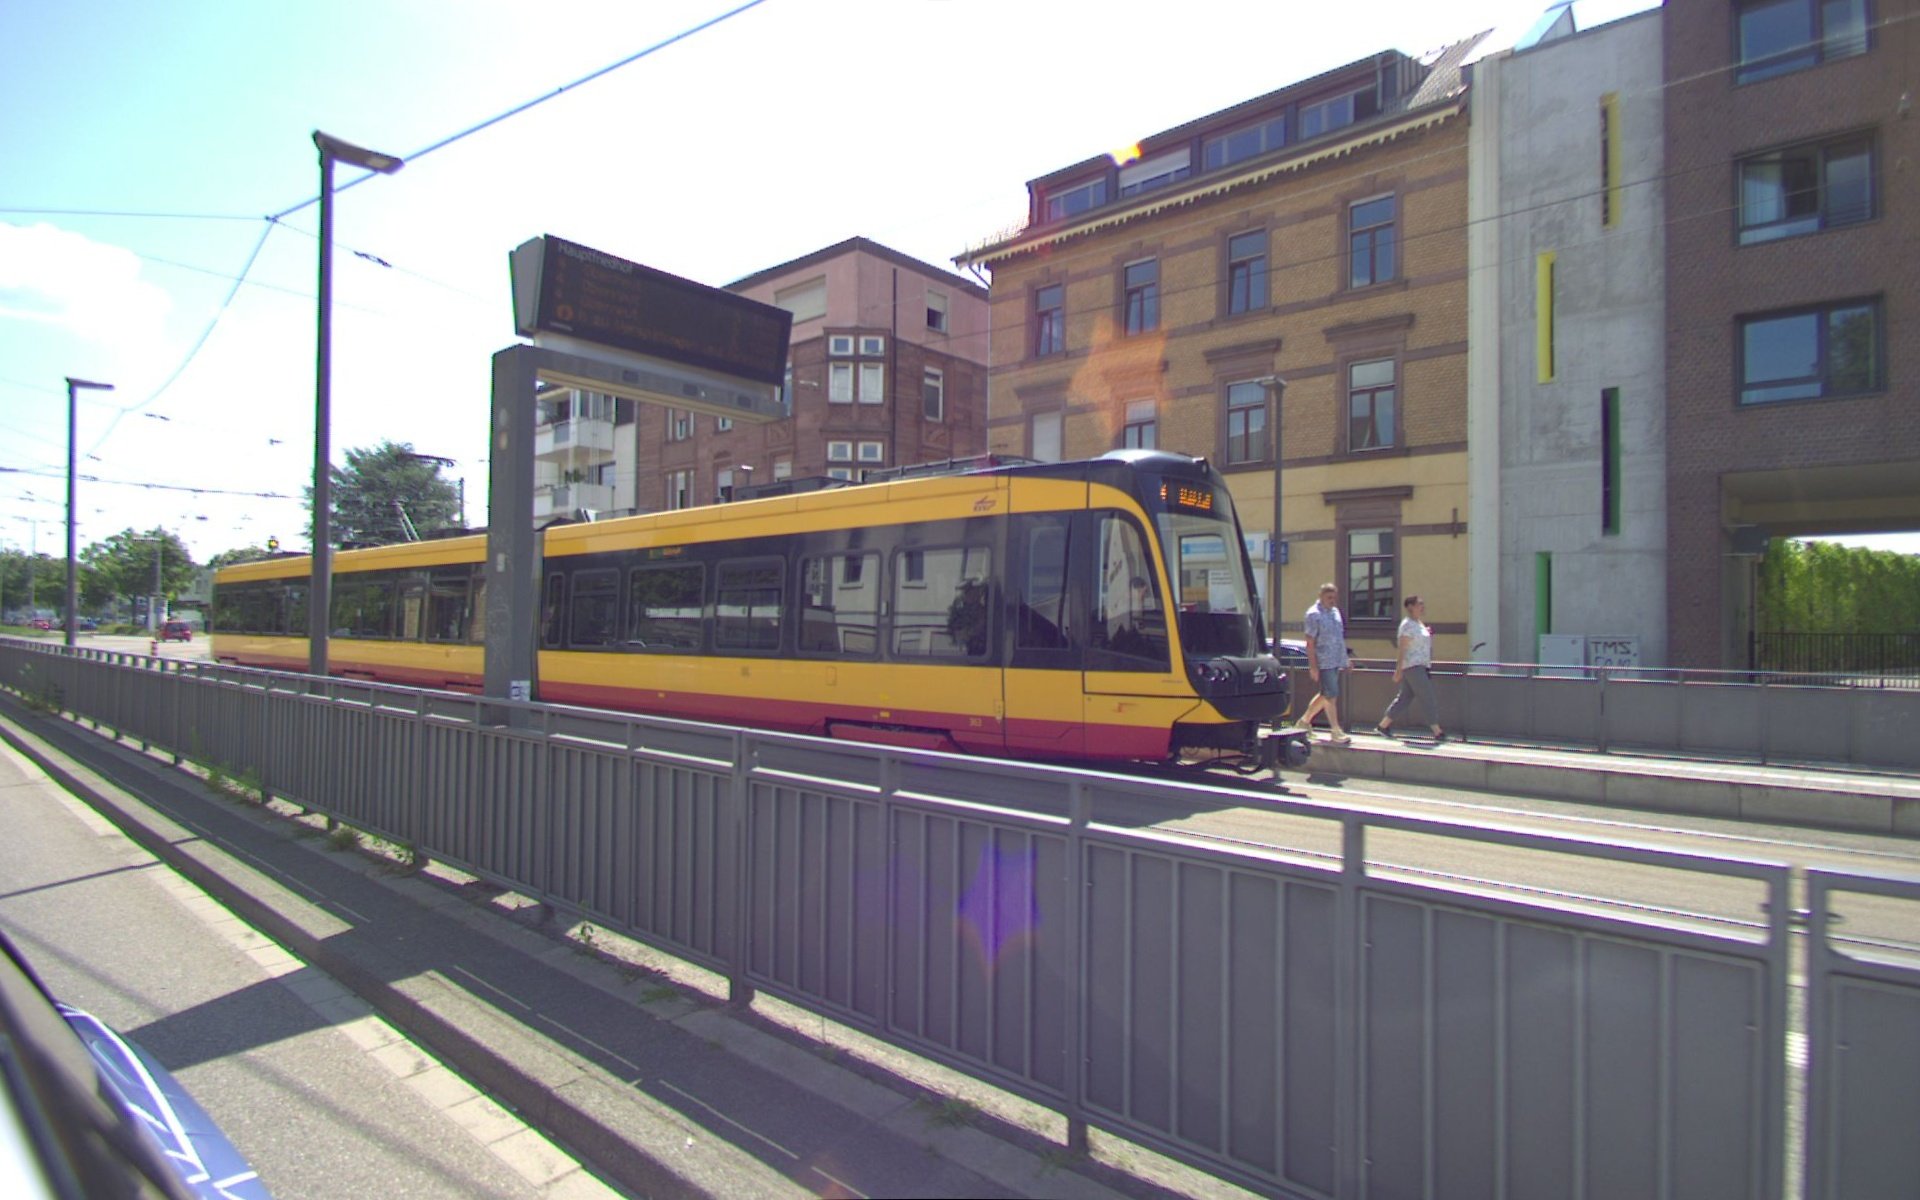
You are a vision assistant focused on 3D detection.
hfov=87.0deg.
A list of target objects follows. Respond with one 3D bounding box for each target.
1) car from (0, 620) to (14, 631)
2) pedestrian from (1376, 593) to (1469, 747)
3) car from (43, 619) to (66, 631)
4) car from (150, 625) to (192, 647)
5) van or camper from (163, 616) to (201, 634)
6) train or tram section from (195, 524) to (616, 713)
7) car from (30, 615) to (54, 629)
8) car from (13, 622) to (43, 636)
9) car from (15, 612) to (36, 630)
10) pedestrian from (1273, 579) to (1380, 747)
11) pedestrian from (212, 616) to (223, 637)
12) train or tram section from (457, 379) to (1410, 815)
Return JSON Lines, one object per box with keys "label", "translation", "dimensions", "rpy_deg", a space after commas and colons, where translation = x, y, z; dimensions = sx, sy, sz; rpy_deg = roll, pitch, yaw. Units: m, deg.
{"label": "car", "translation": [-154.386, 4.087, 163.508], "dimensions": [3.997, 1.706, 1.722], "rpy_deg": [-1, -3, 41]}
{"label": "pedestrian", "translation": [5.373, 0.792, 11.761], "dimensions": [0.808, 1.708, 0.752], "rpy_deg": [-1, -3, 40]}
{"label": "car", "translation": [-117.411, 3.242, 131.239], "dimensions": [3.997, 1.608, 1.722], "rpy_deg": [-1, -3, 41]}
{"label": "car", "translation": [-56.078, 2.557, 71.903], "dimensions": [3.852, 1.456, 1.637], "rpy_deg": [-1, -3, 42]}
{"label": "van or camper", "translation": [-142.580, 4.639, 185.390], "dimensions": [2.246, 3.141, 5.090], "rpy_deg": [-1, -3, 41]}
{"label": "train or tram section", "translation": [-16.098, 0.479, 27.277], "dimensions": [20.494, 3.594, 3.216], "rpy_deg": [-1, -2, 42]}
{"label": "car", "translation": [-126.278, 3.035, 139.238], "dimensions": [3.997, 1.980, 1.941], "rpy_deg": [-1, -3, 41]}
{"label": "car", "translation": [-101.132, 3.154, 109.797], "dimensions": [4.821, 1.461, 1.972], "rpy_deg": [-1, -3, 43]}
{"label": "car", "translation": [-137.724, 3.125, 149.166], "dimensions": [3.997, 2.608, 1.722], "rpy_deg": [-1, -3, 41]}
{"label": "pedestrian", "translation": [4.184, 0.697, 11.556], "dimensions": [0.951, 1.813, 0.752], "rpy_deg": [-1, -3, 41]}
{"label": "pedestrian", "translation": [-65.302, 2.357, 88.989], "dimensions": [0.679, 1.788, 0.485], "rpy_deg": [0, 2, 22]}
{"label": "train or tram section", "translation": [-2.363, 0.073, 14.982], "dimensions": [16.344, 3.594, 3.200], "rpy_deg": [-1, -2, 42]}
